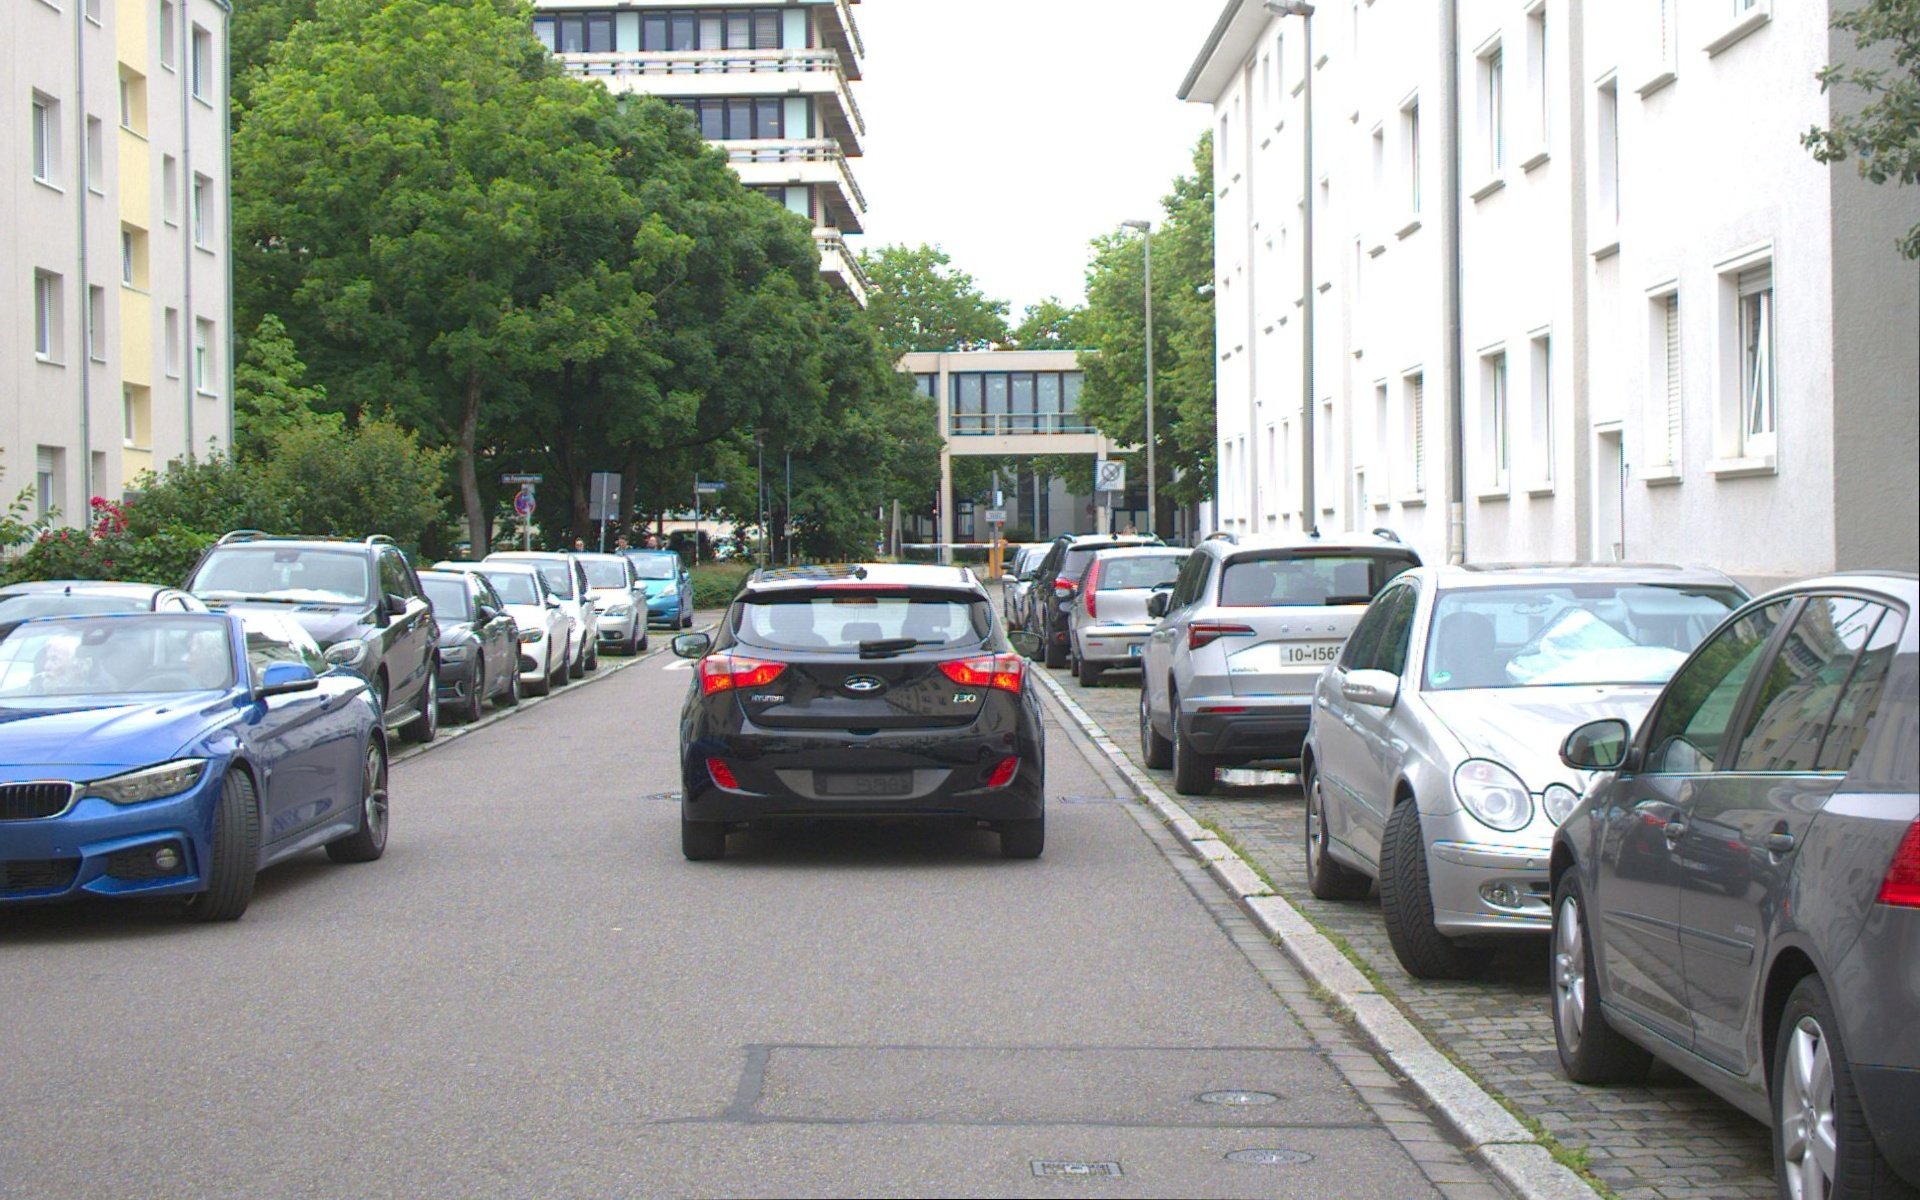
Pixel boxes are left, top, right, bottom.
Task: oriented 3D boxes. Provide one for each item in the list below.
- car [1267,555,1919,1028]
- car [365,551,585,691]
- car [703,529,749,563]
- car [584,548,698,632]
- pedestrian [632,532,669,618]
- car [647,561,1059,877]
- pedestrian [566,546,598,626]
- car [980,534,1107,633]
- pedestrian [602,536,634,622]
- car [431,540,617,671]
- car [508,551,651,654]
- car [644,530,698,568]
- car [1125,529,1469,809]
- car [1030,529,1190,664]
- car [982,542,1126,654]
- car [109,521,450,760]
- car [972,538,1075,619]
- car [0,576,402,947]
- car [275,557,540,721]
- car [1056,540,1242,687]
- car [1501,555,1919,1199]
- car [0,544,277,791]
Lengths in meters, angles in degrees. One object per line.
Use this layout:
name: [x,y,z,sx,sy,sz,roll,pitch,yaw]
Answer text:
car: [2.249,0.576,13.106,1.725,1.471,4.505,0,1,0]
car: [-5.512,0.194,39.582,1.895,1.447,4.521,2,1,-1]
car: [-9.376,-2.163,137.960,1.665,1.328,3.396,0,1,-1]
car: [-6.103,-0.217,66.139,1.993,1.536,4.001,0,1,-3]
pedestrian: [-6.652,-0.540,73.929,0.714,1.825,0.797,0,1,1]
car: [-0.497,0.532,18.161,1.903,1.428,4.233,-1,1,0]
pedestrian: [-8.102,-0.311,73.742,0.600,1.707,0.648,0,1,1]
car: [1.302,-0.296,55.418,1.820,1.514,4.674,-1,1,-1]
pedestrian: [-7.368,-0.457,74.071,0.605,1.825,0.675,0,1,1]
car: [-5.735,0.038,45.704,1.895,1.593,4.521,2,1,-1]
car: [-5.930,0.010,54.013,1.993,1.536,4.001,0,1,-3]
car: [-10.456,-1.861,124.523,1.665,1.328,3.396,0,1,-1]
car: [2.074,0.371,22.200,1.820,1.636,4.091,0,1,0]
car: [1.835,-0.081,43.019,1.820,1.597,4.091,-1,1,0]
car: [1.293,-0.066,49.207,1.820,1.514,4.674,-1,1,-1]
car: [-5.444,0.270,28.064,1.895,1.734,4.475,2,1,-1]
car: [1.196,-0.424,66.652,1.820,1.514,4.674,0,1,-1]
car: [-3.926,0.637,16.130,1.845,1.446,4.501,0,1,1]
car: [-5.407,0.331,34.218,1.895,1.447,4.667,2,1,-1]
car: [2.050,0.107,38.270,1.820,1.498,4.091,-1,1,0]
car: [2.436,0.639,8.318,1.603,1.471,3.869,0,1,-1]
car: [-5.711,0.379,22.517,1.744,1.459,3.786,-1,1,-1]
